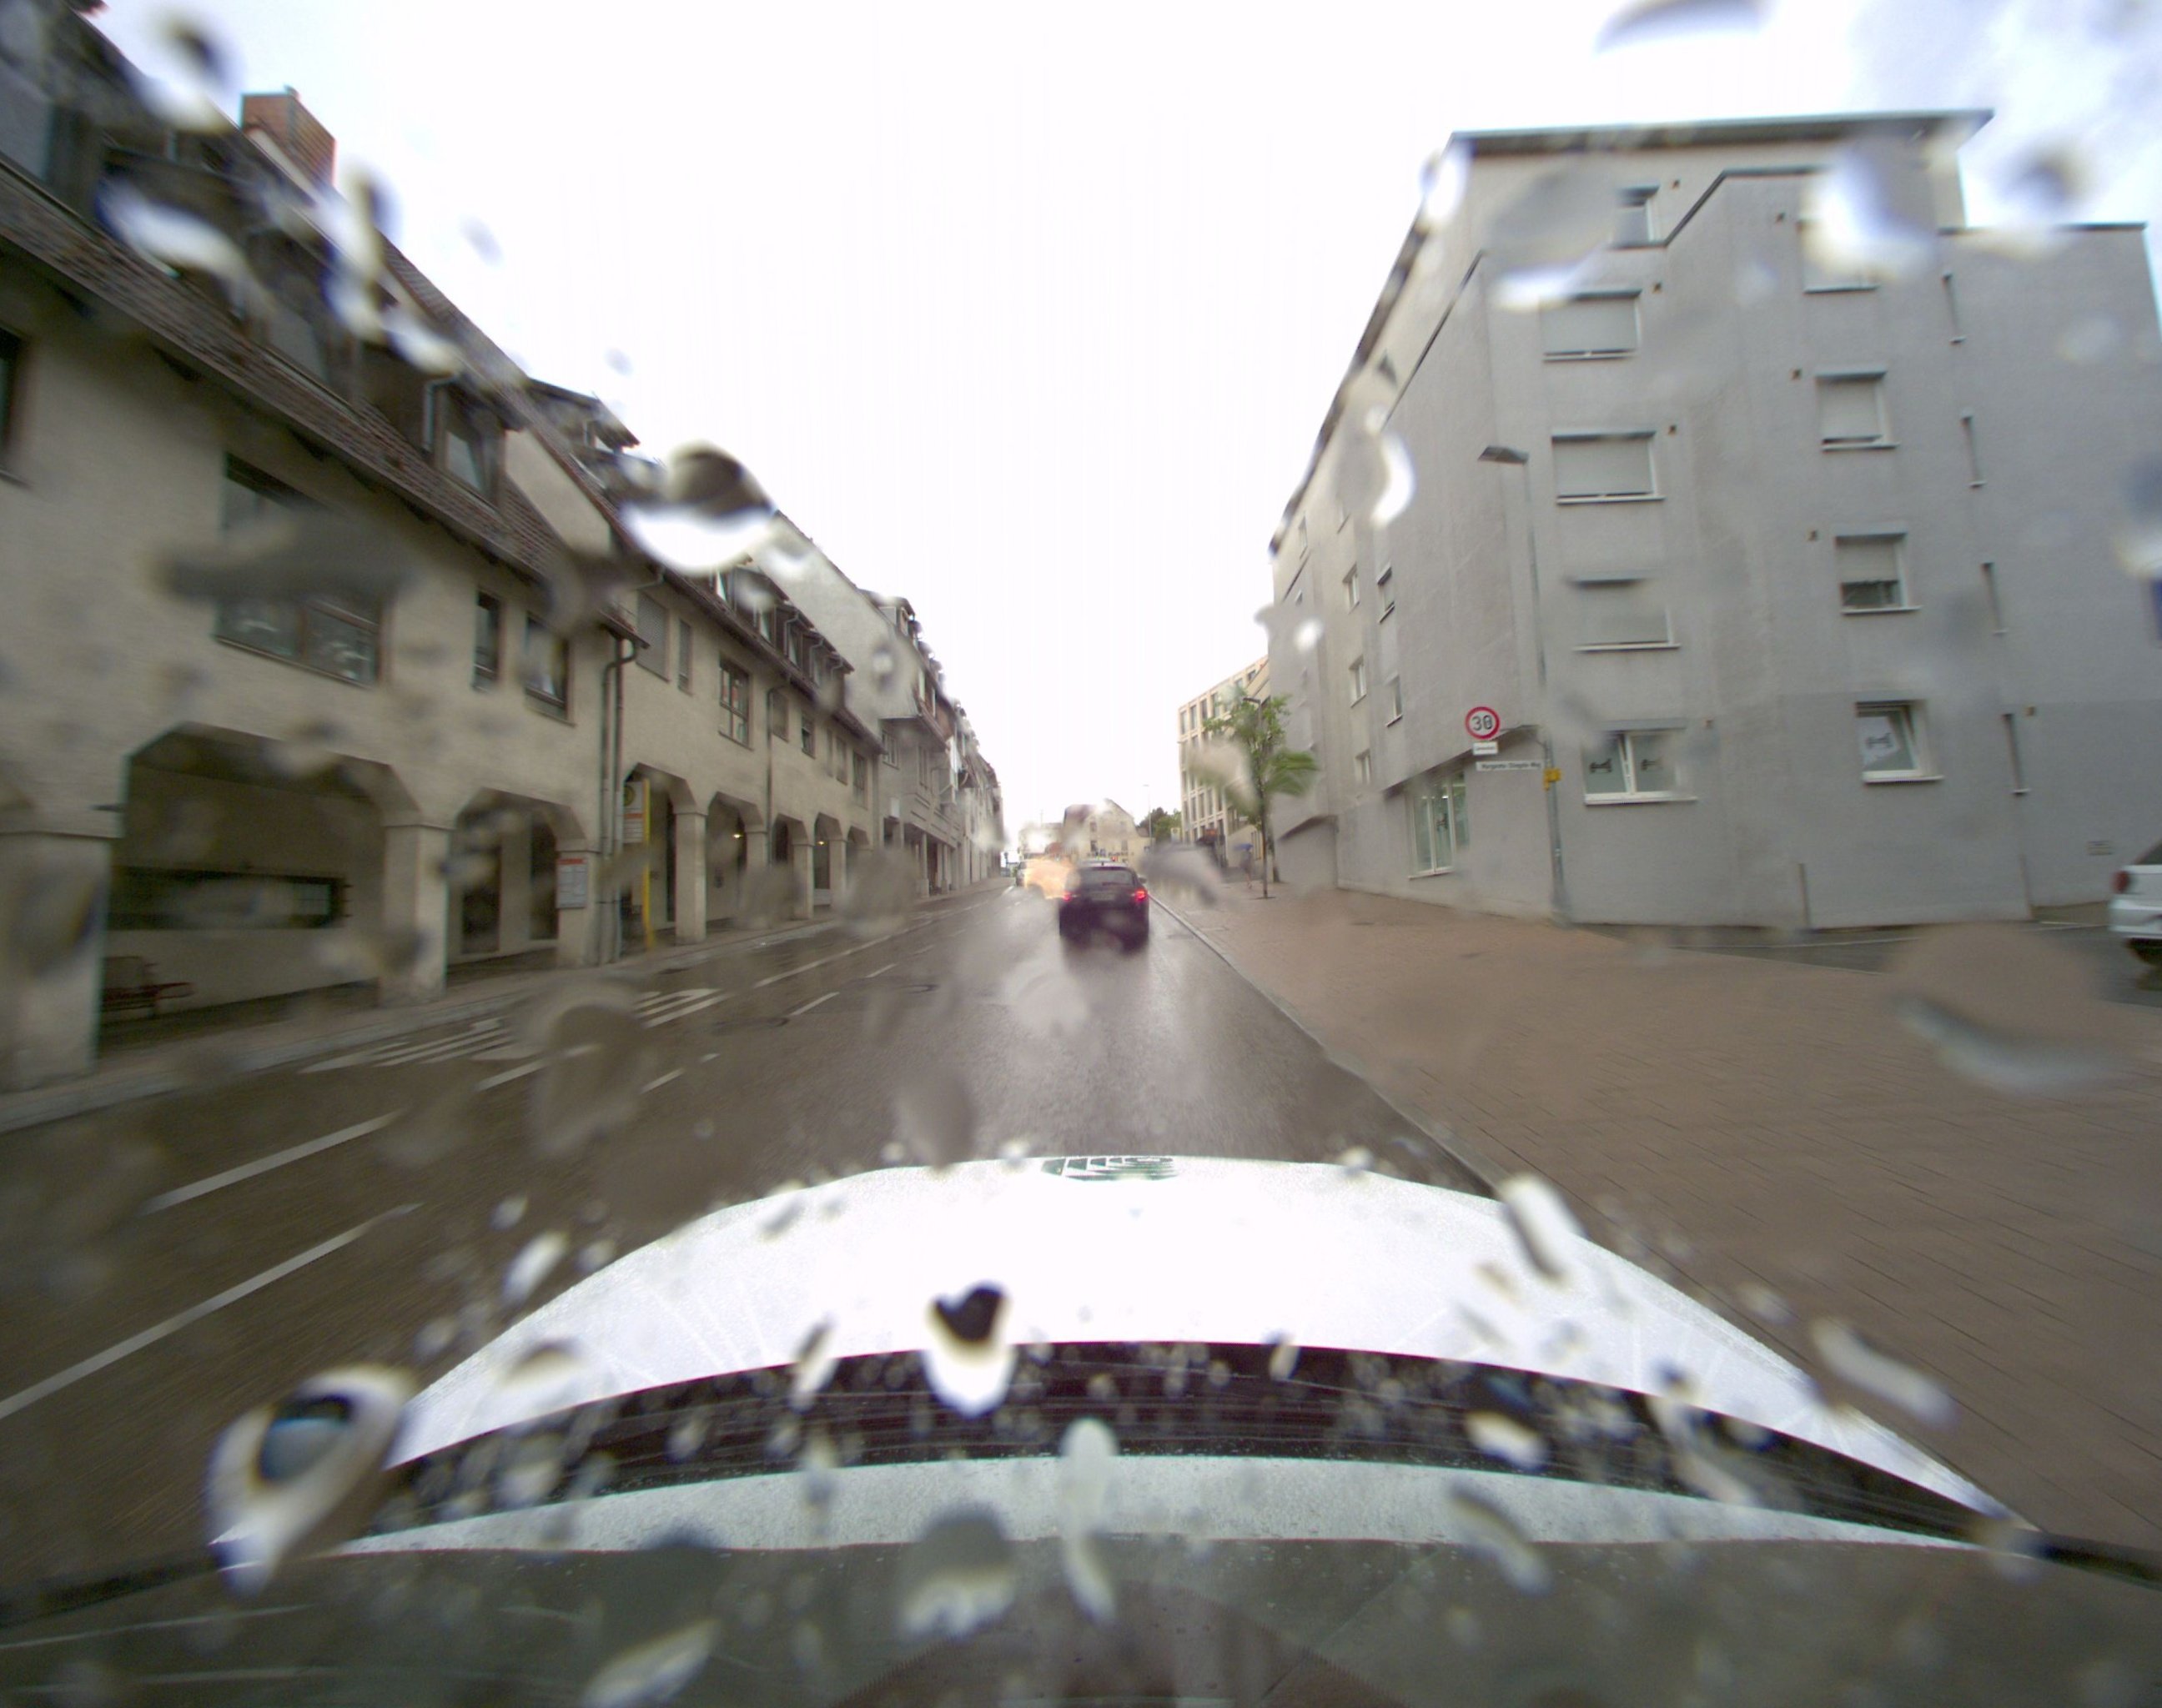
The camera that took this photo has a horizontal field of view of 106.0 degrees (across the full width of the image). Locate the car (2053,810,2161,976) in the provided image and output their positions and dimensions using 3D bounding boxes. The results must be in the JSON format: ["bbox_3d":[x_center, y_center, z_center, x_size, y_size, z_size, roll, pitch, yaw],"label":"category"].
[{"bbox_3d":[11.506,0.196,7.155,3.751,1.454,1.743,-5,-2,0],"label":"car"}]

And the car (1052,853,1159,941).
[{"bbox_3d":[0.492,0.821,17.366,1.938,1.567,4.418,-2,0,1],"label":"car"}]

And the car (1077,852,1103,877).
[{"bbox_3d":[0.626,0.720,55.746,1.675,1.560,4.000,-3,0,1],"label":"car"}]

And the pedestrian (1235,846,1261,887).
[{"bbox_3d":[6.626,0.483,32.396,0.732,1.542,1.039,-5,-1,4],"label":"pedestrian"}]

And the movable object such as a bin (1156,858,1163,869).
[{"bbox_3d":[7.441,0.910,77.513,0.593,1.062,0.579,-3,-1,0],"label":"movable object such as a bin"}]

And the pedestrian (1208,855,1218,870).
[{"bbox_3d":[10.753,0.702,66.435,0.669,1.162,0.635,-4,-1,1],"label":"pedestrian"}]

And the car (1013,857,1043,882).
[{"bbox_3d":[-3.441,1.014,53.774,1.672,1.510,3.588,-2,0,0],"label":"car"}]

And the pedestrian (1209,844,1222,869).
[{"bbox_3d":[10.714,0.189,65.045,0.779,1.940,1.021,-4,-1,1],"label":"pedestrian"}]

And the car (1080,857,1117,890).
[{"bbox_3d":[0.834,0.953,40.889,1.672,1.510,3.586,-2,0,-1],"label":"car"}]

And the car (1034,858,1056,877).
[{"bbox_3d":[-2.959,1.089,67.503,1.672,1.510,3.586,-2,0,-1],"label":"car"}]
